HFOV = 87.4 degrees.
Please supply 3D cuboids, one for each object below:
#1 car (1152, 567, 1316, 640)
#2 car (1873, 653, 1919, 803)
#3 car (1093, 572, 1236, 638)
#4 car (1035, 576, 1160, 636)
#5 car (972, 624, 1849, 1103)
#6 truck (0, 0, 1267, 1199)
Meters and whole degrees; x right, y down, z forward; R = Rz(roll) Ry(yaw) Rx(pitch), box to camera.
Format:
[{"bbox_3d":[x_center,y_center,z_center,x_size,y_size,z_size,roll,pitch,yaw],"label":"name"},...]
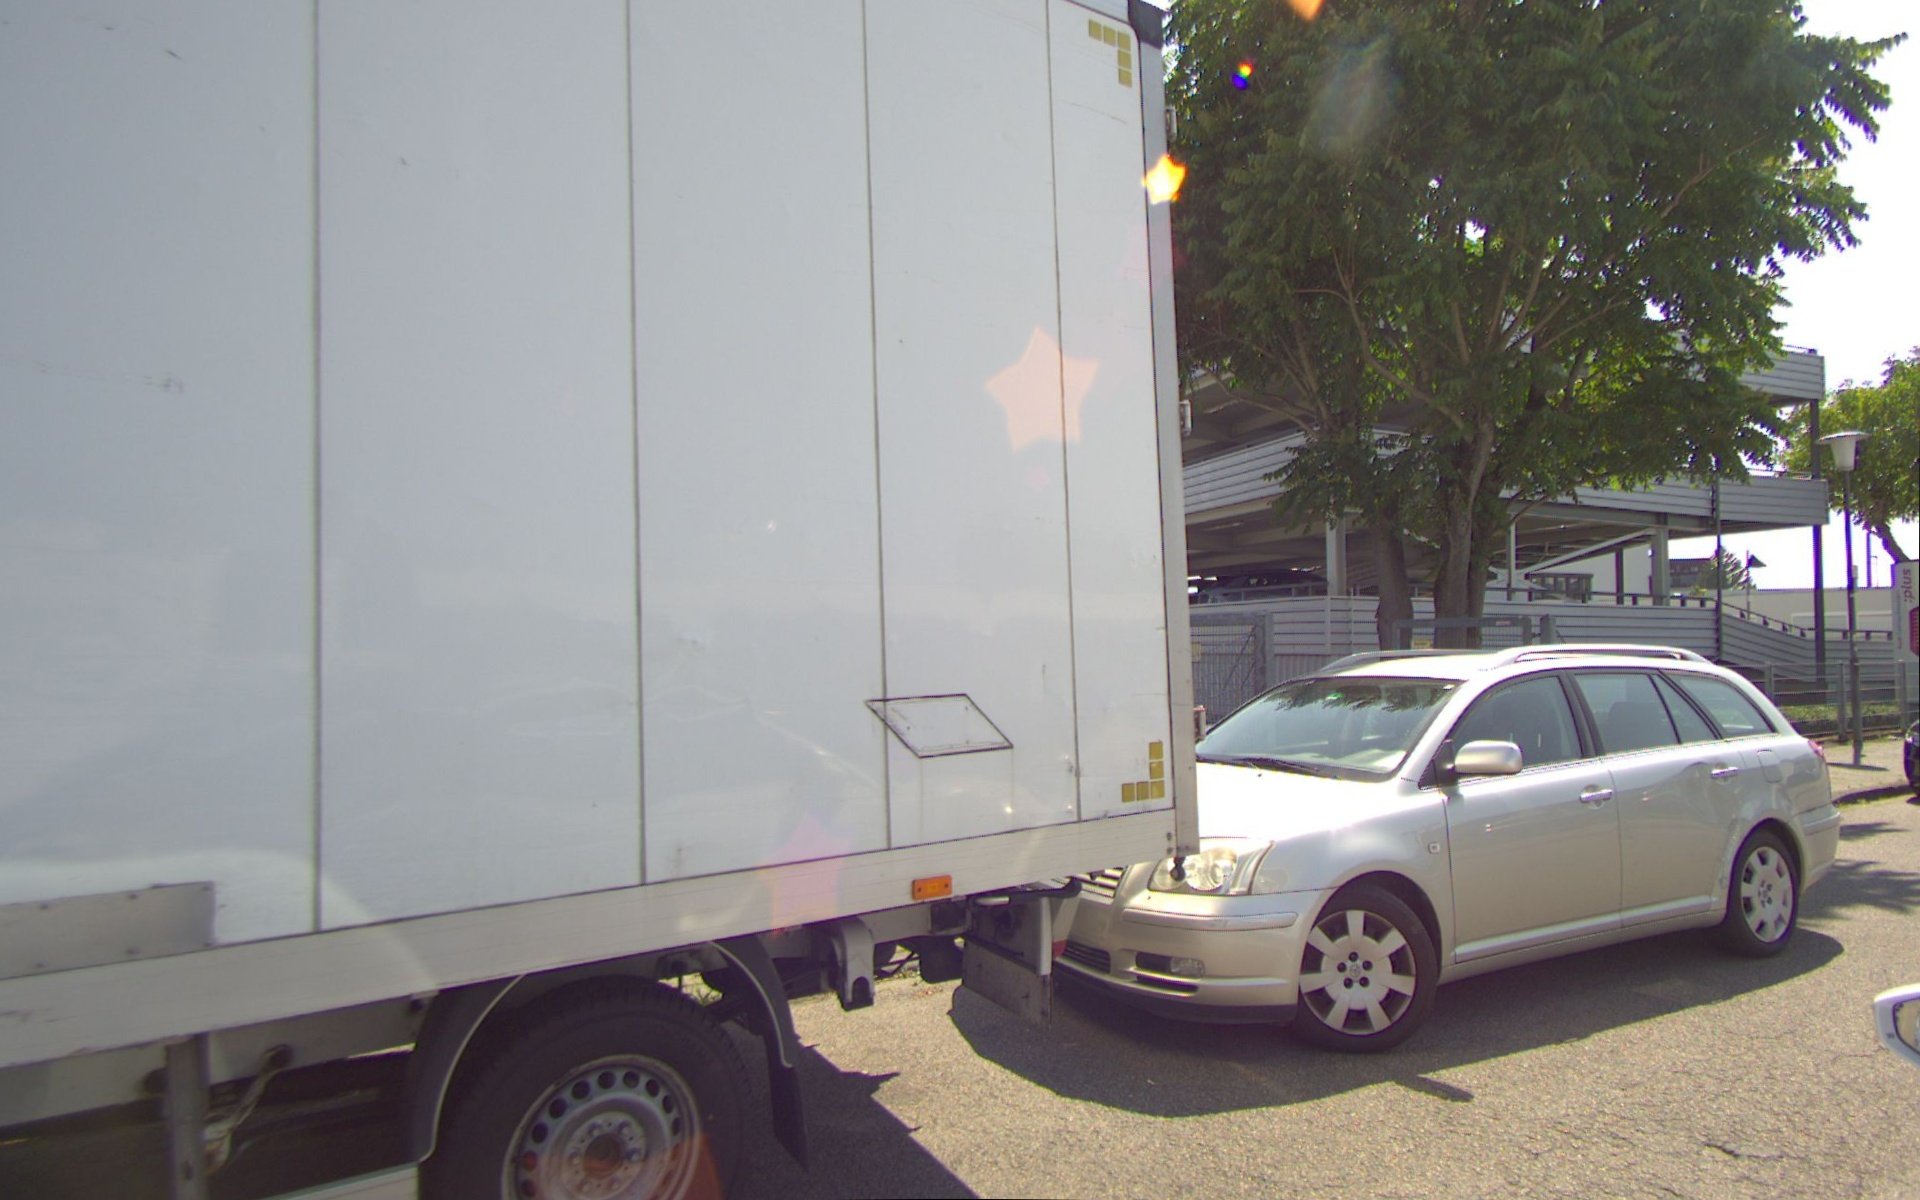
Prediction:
[{"bbox_3d":[7.283,0.128,27.032,3.920,1.693,1.819,3,-3,4],"label":"car"},{"bbox_3d":[11.547,1.307,10.539,4.065,1.482,1.697,2,-4,-30],"label":"car"},{"bbox_3d":[6.016,0.187,29.943,3.920,1.693,1.819,3,-3,4],"label":"car"},{"bbox_3d":[4.466,0.227,33.091,3.920,1.693,1.819,3,-3,4],"label":"car"},{"bbox_3d":[2.330,0.960,5.031,4.255,1.541,1.735,2,-4,-27],"label":"car"},{"bbox_3d":[-2.807,-0.272,2.301,7.046,3.410,2.673,3,-4,-30],"label":"truck"}]
